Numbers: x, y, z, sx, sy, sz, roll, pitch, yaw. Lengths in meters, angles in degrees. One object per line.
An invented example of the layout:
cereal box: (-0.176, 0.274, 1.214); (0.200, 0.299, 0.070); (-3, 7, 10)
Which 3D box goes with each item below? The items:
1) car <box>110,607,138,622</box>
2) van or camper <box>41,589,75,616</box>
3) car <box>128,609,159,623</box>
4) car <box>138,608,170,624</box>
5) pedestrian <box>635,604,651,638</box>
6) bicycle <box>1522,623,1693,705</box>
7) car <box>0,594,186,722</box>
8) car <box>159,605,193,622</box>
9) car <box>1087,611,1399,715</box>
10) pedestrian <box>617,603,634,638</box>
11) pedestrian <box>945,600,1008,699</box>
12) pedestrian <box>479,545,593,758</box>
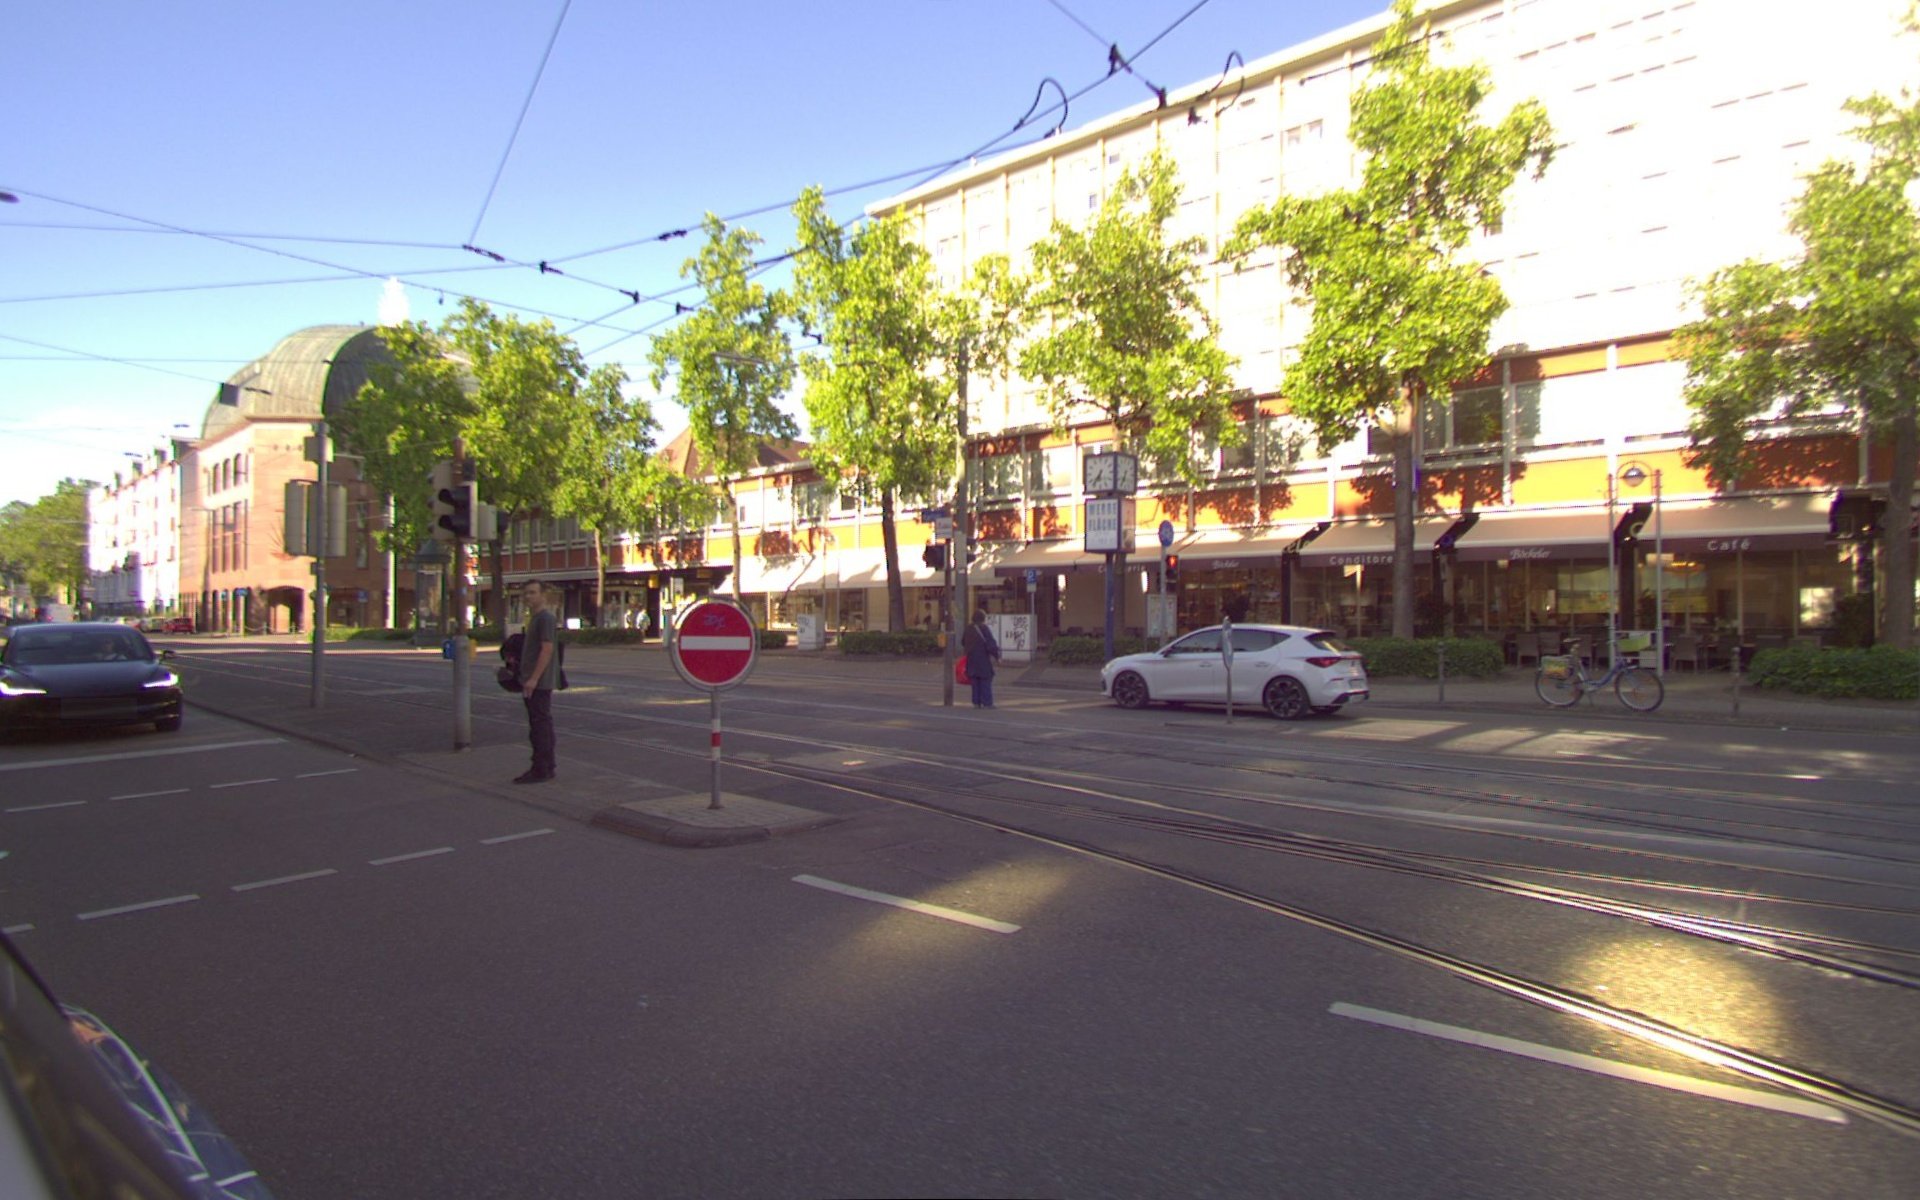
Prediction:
car: (-86.717, 1.481, 104.953); (3.853, 1.465, 1.831); (0, 0, 43)
van or camper: (-96.438, 0.318, 108.185); (7.020, 2.760, 2.014); (0, -2, 43)
car: (-78.417, 1.536, 97.176); (3.853, 1.364, 1.831); (0, 0, 43)
car: (-74.767, 1.459, 93.863); (3.853, 1.465, 1.831); (0, 0, 43)
pedestrian: (-16.860, 1.110, 53.834); (0.706, 1.763, 0.566); (-1, -2, 44)
bicycle: (10.198, 0.970, 16.011); (2.234, 1.195, 0.492); (-1, -1, 42)
car: (-11.907, 0.659, 13.529); (4.153, 1.434, 1.791); (0, 1, 43)
car: (-67.530, 1.136, 87.204); (3.470, 1.465, 1.730); (0, 0, 42)
car: (4.490, 0.916, 16.448); (4.500, 1.462, 1.972); (-1, -1, 42)
pedestrian: (-17.563, 1.071, 53.122); (0.706, 1.785, 0.566); (-1, -2, 44)
pedestrian: (0.261, 0.779, 16.100); (0.859, 1.529, 0.494); (-1, -3, 43)
pedestrian: (-3.745, 0.439, 8.935); (0.895, 1.777, 0.552); (-1, -3, 43)
